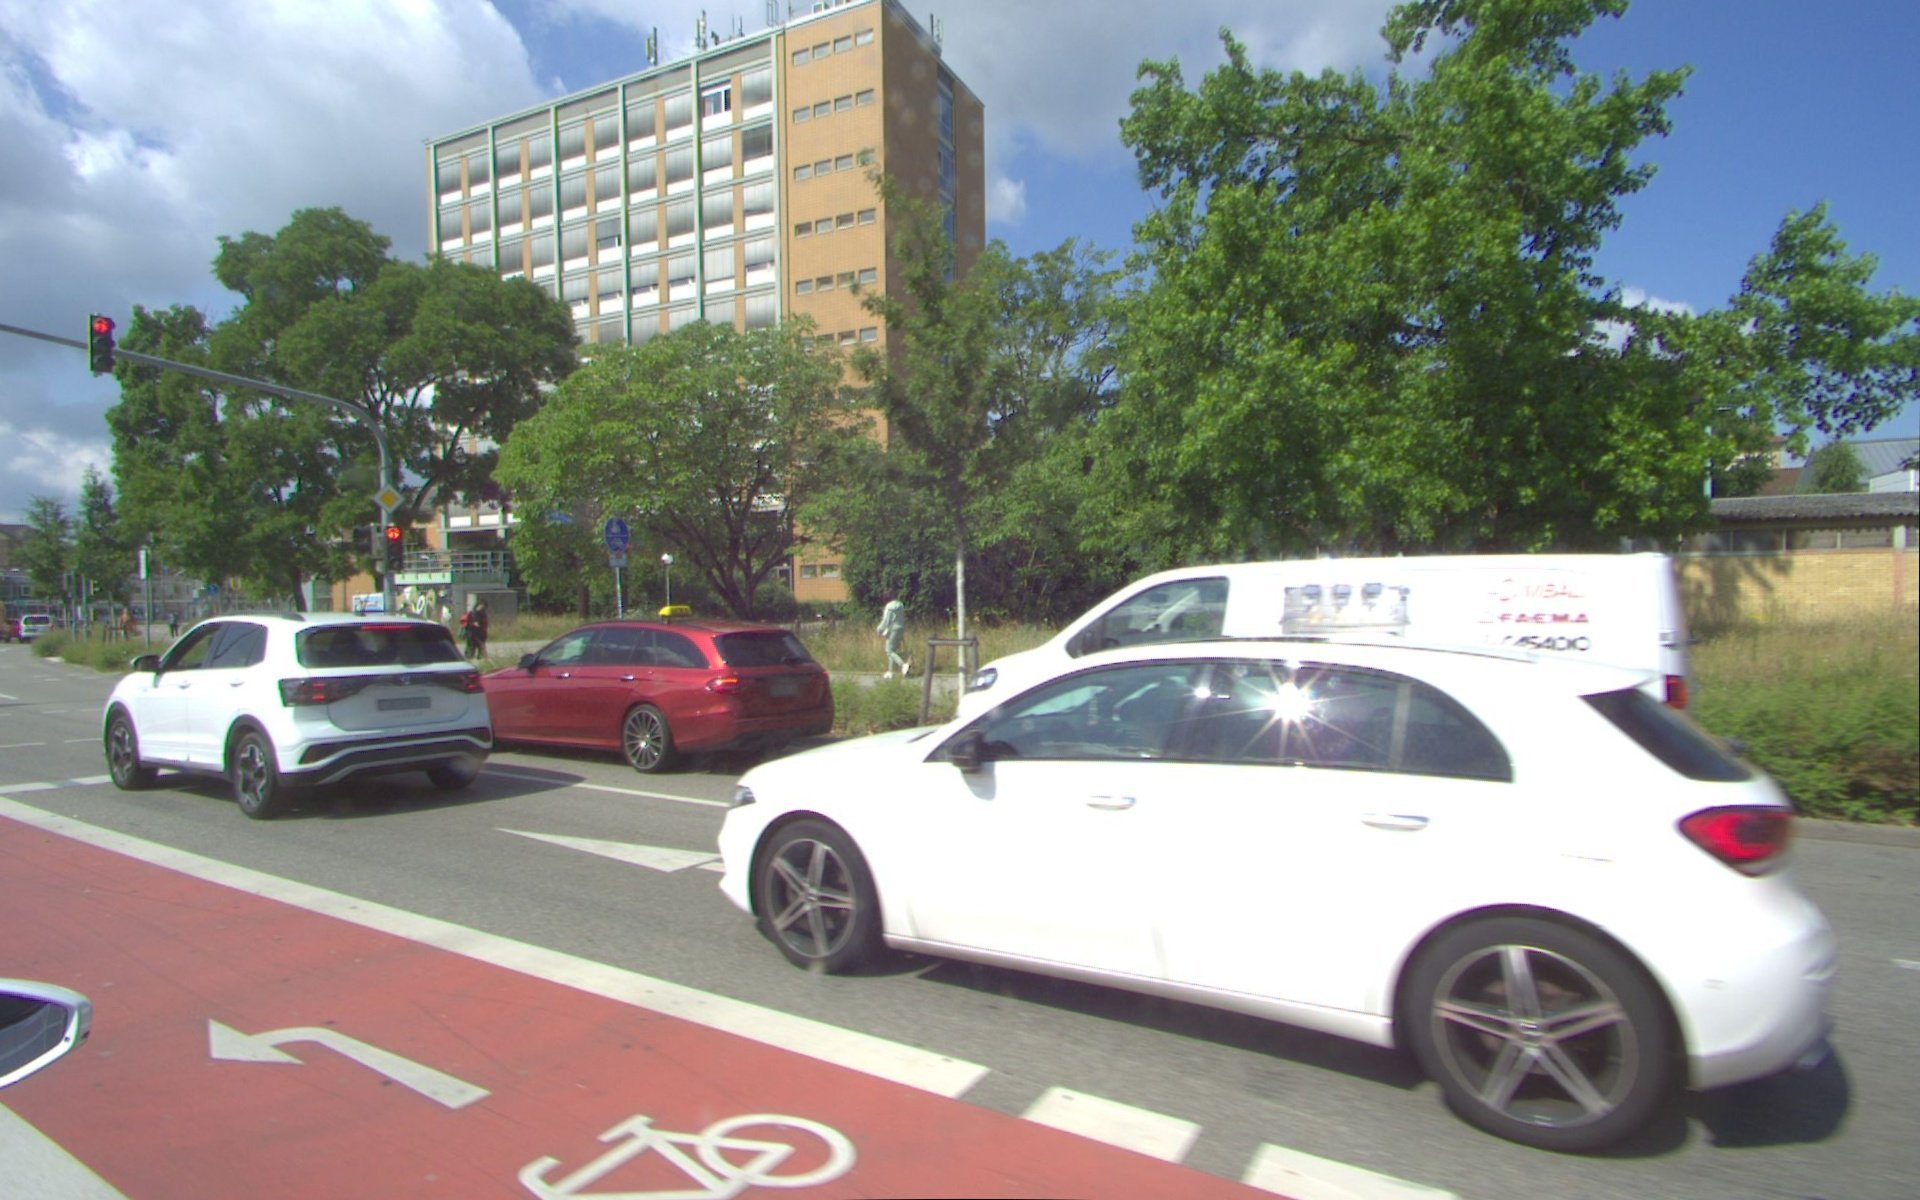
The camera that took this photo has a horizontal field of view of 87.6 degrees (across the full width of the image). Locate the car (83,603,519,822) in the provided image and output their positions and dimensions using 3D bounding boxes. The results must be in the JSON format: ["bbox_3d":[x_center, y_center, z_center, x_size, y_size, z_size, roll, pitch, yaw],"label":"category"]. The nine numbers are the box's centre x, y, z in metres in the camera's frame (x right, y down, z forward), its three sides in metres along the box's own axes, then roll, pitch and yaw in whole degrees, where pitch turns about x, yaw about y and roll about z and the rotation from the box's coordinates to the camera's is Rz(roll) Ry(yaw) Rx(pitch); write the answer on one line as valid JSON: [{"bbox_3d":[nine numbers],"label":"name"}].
[{"bbox_3d":[-5.965,0.839,8.968,3.953,1.559,1.788,0,-1,32],"label":"car"}]

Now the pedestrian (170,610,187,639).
[{"bbox_3d":[-49.594,1.542,63.545,0.781,1.808,0.662,-1,1,-38],"label":"pedestrian"}]

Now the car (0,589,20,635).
[{"bbox_3d":[-60.601,0.789,62.475,2.109,2.818,4.608,-2,1,-34],"label":"car"}]

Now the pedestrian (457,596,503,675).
[{"bbox_3d":[-10.855,0.786,22.656,0.672,1.759,0.738,0,1,45],"label":"pedestrian"}]

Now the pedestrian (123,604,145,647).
[{"bbox_3d":[-34.236,1.064,41.508,0.572,1.756,0.656,0,1,45],"label":"pedestrian"}]

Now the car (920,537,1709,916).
[{"bbox_3d":[2.217,0.638,7.089,4.755,1.895,1.938,0,1,32],"label":"car"}]

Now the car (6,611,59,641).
[{"bbox_3d":[-65.095,1.769,70.353,1.972,1.964,4.608,-2,1,-34],"label":"car"}]

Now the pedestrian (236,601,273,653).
[{"bbox_3d":[-21.092,0.796,29.953,0.545,1.528,0.767,0,1,36],"label":"pedestrian"}]

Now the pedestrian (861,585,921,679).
[{"bbox_3d":[-1.253,0.570,18.209,0.710,1.660,0.866,0,1,33],"label":"pedestrian"}]

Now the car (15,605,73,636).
[{"bbox_3d":[-57.801,1.264,63.240,1.973,1.819,3.975,-2,1,-33],"label":"car"}]

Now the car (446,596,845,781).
[{"bbox_3d":[-3.507,0.814,10.886,4.397,1.663,1.678,0,0,32],"label":"car"}]

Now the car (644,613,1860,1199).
[{"bbox_3d":[0.834,0.800,4.384,4.321,1.443,1.900,0,0,32],"label":"car"}]
